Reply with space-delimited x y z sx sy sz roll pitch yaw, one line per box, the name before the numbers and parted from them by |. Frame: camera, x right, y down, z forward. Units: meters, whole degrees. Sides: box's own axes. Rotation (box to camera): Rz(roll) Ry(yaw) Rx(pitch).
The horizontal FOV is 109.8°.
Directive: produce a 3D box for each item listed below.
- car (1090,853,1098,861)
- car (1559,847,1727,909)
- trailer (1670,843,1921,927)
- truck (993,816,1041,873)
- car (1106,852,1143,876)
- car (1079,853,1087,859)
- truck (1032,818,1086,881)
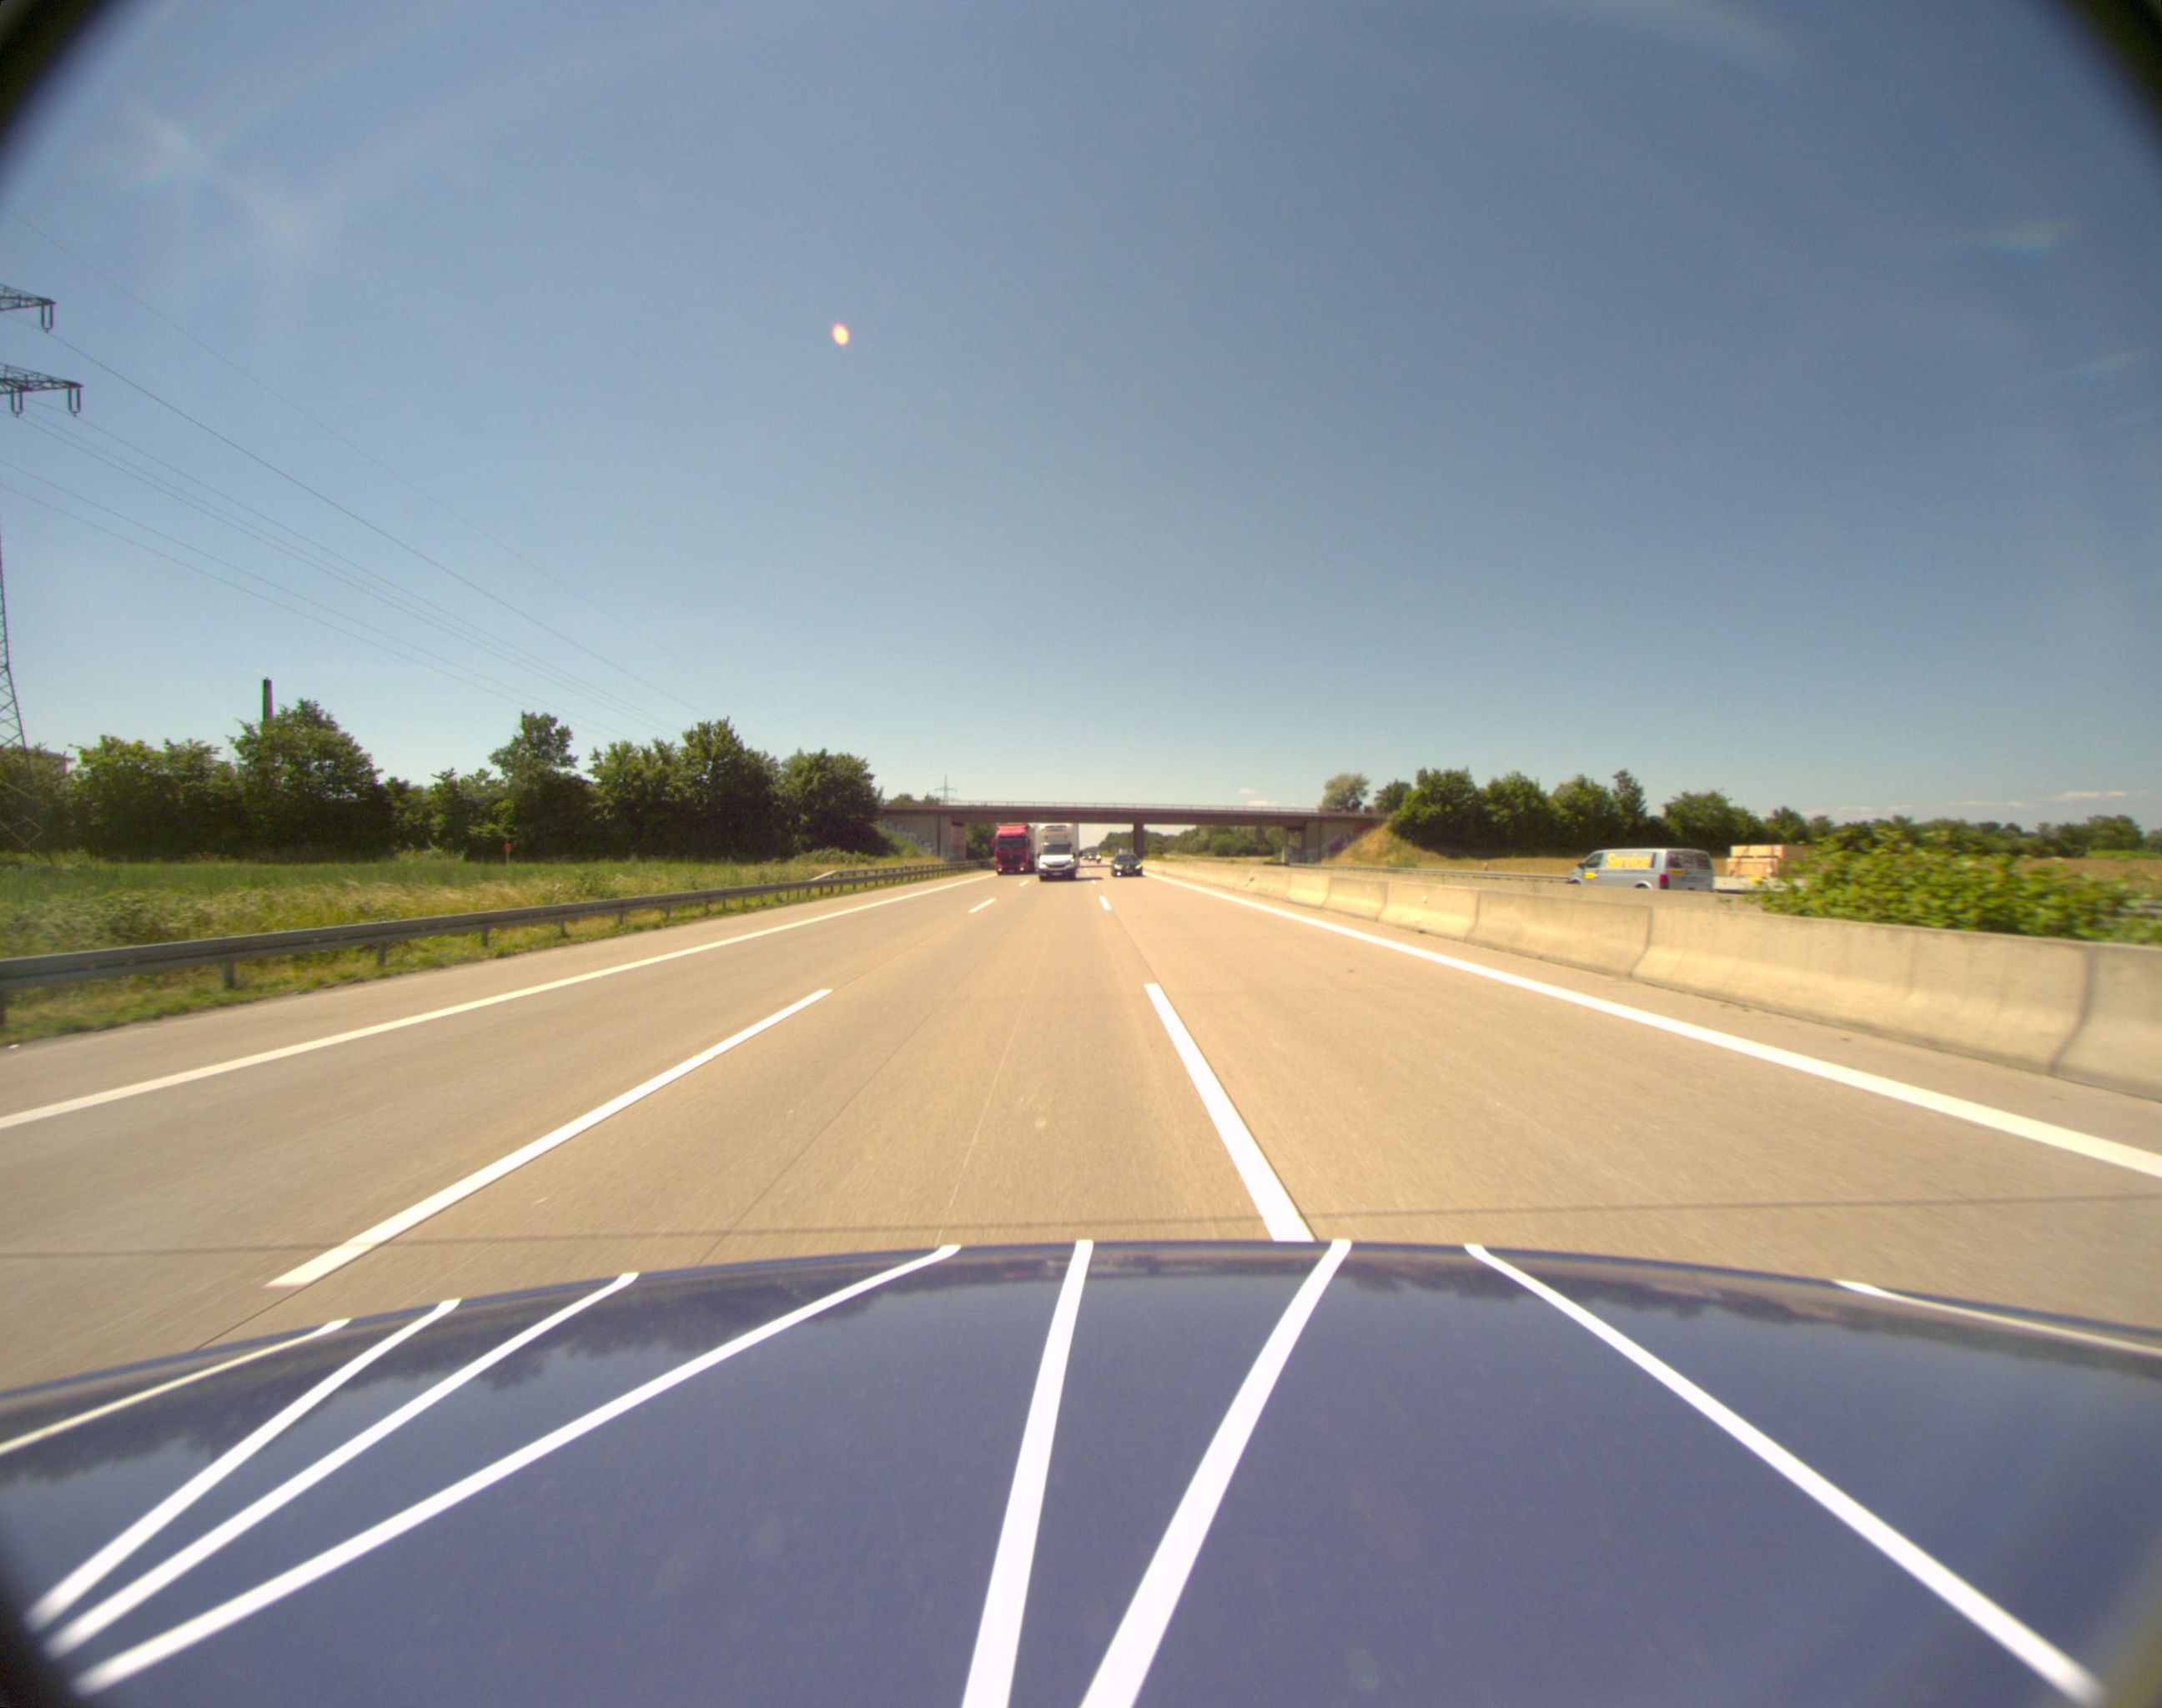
car | 2.468 0.612 145.404 1.558 1.440 3.776 -2 1 1
car | 19.837 0.749 27.231 1.870 1.933 5.565 -2 1 0
trailer | 19.844 0.741 21.586 1.814 2.031 5.612 -2 1 0
truck | -5.221 -0.765 64.011 2.855 4.298 10.885 -2 1 0
car | 2.795 0.581 50.015 1.999 1.462 6.346 0 0 -1
car | 0.515 0.456 182.956 1.683 1.444 3.564 -2 1 1
truck | -1.182 -0.272 45.461 2.784 3.328 7.812 -2 1 0
